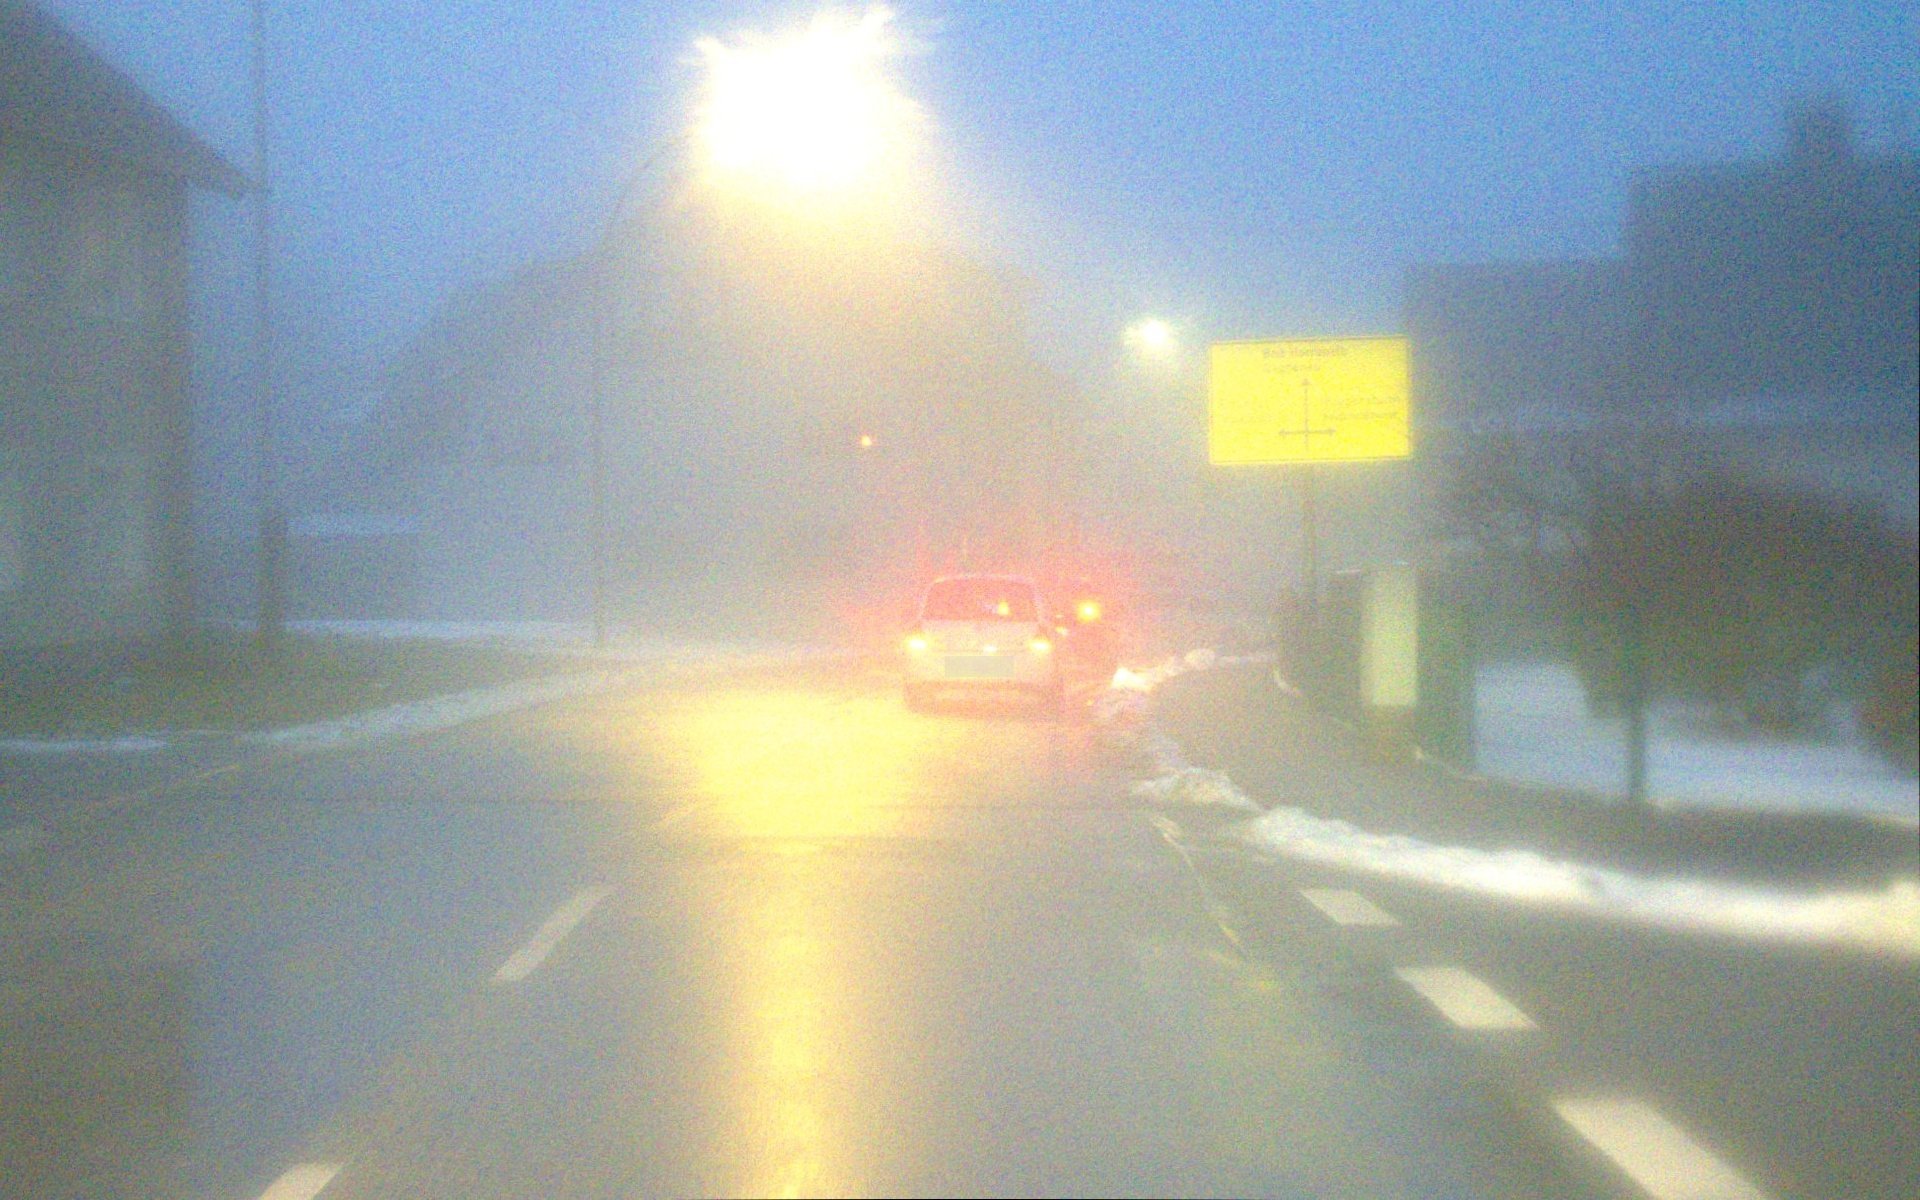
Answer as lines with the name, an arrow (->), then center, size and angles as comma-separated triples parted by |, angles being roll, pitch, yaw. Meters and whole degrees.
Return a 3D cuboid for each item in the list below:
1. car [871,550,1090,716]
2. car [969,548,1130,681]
car -> 0.278, 0.307, 36.853 | 1.994, 1.503, 4.000 | -2, 2, 5
car -> 1.449, 0.192, 54.237 | 1.994, 1.831, 3.999 | -2, 2, 9
